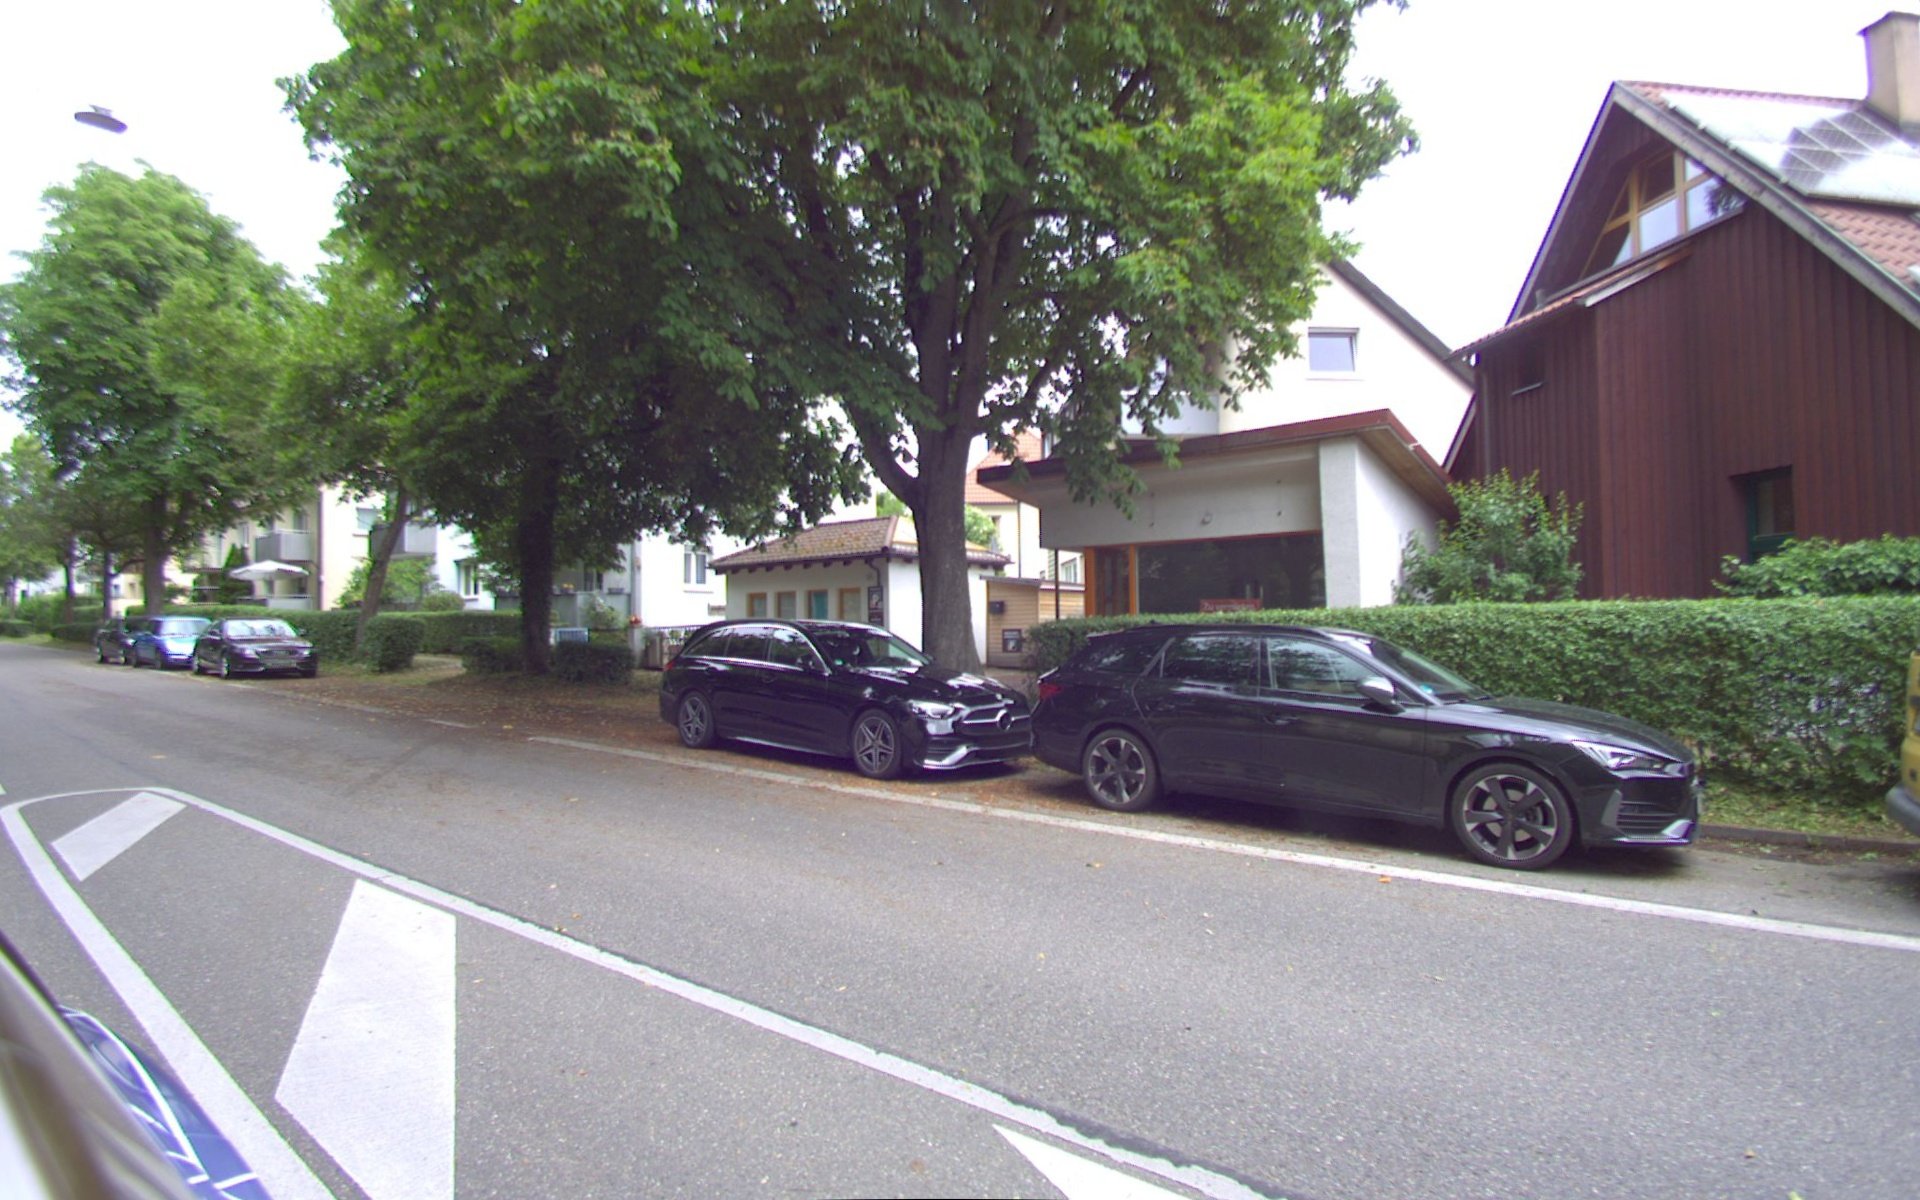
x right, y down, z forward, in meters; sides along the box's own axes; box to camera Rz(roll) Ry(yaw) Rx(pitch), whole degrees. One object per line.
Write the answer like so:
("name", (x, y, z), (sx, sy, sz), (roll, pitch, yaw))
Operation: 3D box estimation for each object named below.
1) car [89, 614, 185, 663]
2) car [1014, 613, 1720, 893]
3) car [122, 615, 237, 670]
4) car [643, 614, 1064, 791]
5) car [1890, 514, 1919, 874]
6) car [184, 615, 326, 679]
("car", (-24.788, 1.164, 30.445), (3.768, 1.387, 1.521), (-2, -3, 40))
("car", (2.718, 0.844, 7.441), (4.510, 1.461, 1.727), (-1, -2, 40))
("car", (-21.334, 1.137, 27.621), (4.148, 1.387, 1.616), (-2, -3, 40))
("car", (-1.287, 0.893, 10.571), (4.591, 1.461, 1.727), (-1, -2, 41))
("car", (7.160, 0.498, 4.052), (4.789, 2.004, 1.900), (-1, -2, 35))
("car", (-16.858, 1.099, 24.111), (4.593, 1.387, 1.827), (-2, -3, 43))
